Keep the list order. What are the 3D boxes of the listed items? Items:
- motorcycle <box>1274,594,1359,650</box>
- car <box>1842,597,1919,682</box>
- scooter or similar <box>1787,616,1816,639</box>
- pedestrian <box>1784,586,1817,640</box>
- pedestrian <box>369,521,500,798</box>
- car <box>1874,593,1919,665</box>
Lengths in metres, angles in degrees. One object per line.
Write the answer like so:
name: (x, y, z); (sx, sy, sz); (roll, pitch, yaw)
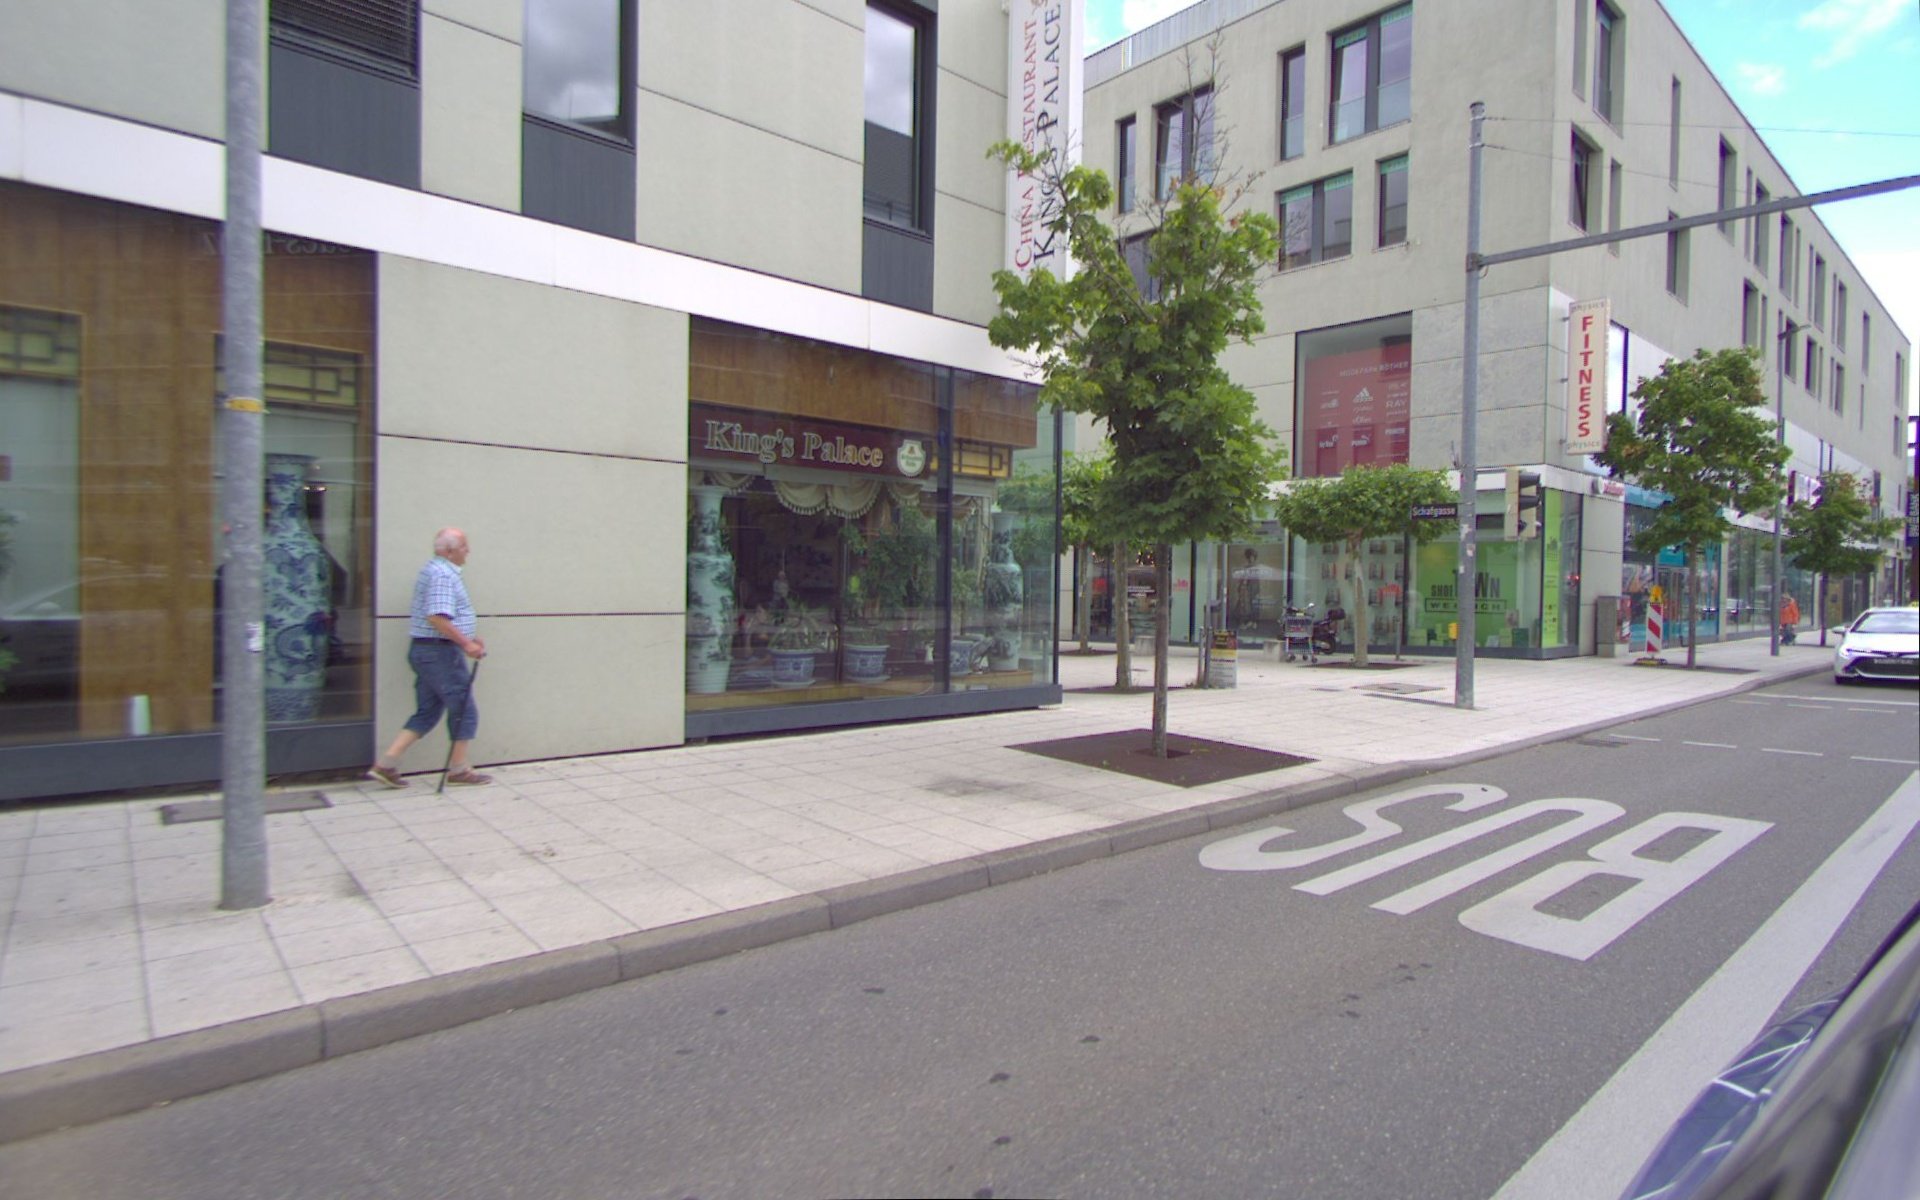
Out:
motorcycle: (8.542, 0.522, 24.330); (0.584, 1.273, 1.841); (-3, 1, -42)
car: (18.115, 0.682, 19.060); (4.437, 1.443, 1.785); (-1, 1, -42)
scooter or similar: (25.812, 0.830, 31.054); (0.754, 0.642, 0.552); (0, 2, -41)
pedestrian: (25.323, 0.391, 30.498); (0.719, 1.586, 0.590); (0, 2, -41)
pedestrian: (-3.454, 0.353, 6.643); (0.603, 1.690, 0.746); (0, 1, -40)
car: (22.699, 0.619, 23.450); (4.707, 1.561, 1.739); (-1, 0, -41)
